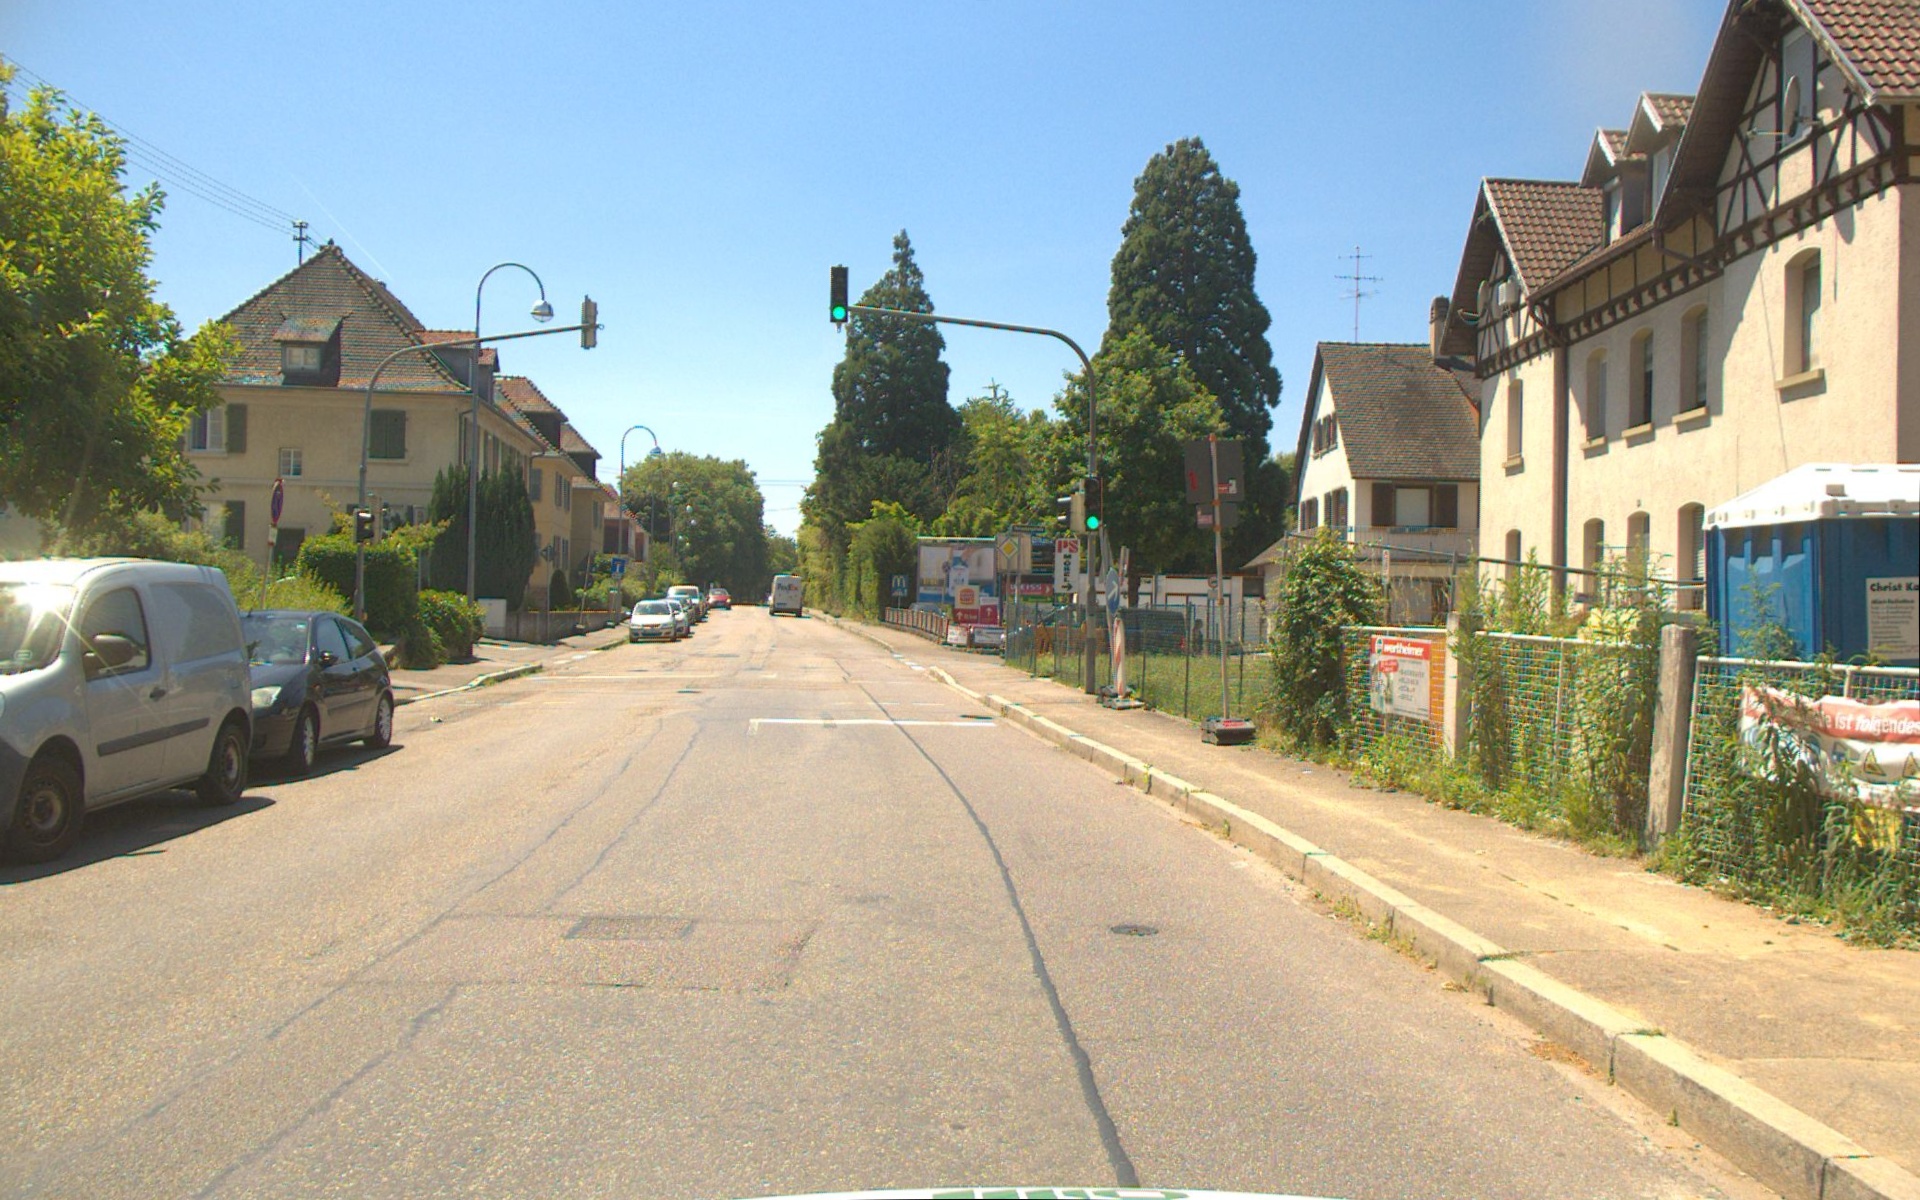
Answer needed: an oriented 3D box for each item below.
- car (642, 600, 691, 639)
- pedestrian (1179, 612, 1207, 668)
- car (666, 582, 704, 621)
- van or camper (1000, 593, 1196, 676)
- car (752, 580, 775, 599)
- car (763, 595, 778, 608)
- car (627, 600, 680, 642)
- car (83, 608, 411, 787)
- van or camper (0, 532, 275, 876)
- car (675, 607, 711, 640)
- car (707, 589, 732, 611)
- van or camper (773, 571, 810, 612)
[{"bbox_3d":[-11.427,0.741,64.487,1.761,1.426,4.210,0,0,-9],"label":"car"},{"bbox_3d":[6.932,1.182,49.232,0.682,1.628,0.572,1,-1,-7],"label":"pedestrian"},{"bbox_3d":[-14.825,0.070,89.335,1.843,1.997,4.617,-1,0,-8],"label":"car"},{"bbox_3d":[3.780,0.941,45.884,5.149,2.049,1.907,2,-1,-4],"label":"van or camper"},{"bbox_3d":[-18.409,-1.007,154.756,1.956,1.691,3.992,1,0,-8],"label":"car"},{"bbox_3d":[-26.578,0.188,232.249,1.956,1.691,3.992,1,0,-8],"label":"car"},{"bbox_3d":[-11.004,0.738,59.492,1.726,1.473,3.916,0,0,-9],"label":"car"},{"bbox_3d":[-6.484,0.807,15.501,1.648,1.437,3.922,-1,0,-5],"label":"car"},{"bbox_3d":[-6.022,0.576,10.755,1.647,1.836,3.982,-1,0,-3],"label":"van or camper"},{"bbox_3d":[-13.367,1.167,82.913,1.655,1.552,4.055,2,0,-8],"label":"car"},{"bbox_3d":[-17.693,0.032,121.731,1.780,1.593,3.690,0,0,-7],"label":"car"},{"bbox_3d":[-11.024,-0.524,107.775,2.220,2.572,4.751,0,0,-8],"label":"van or camper"}]
